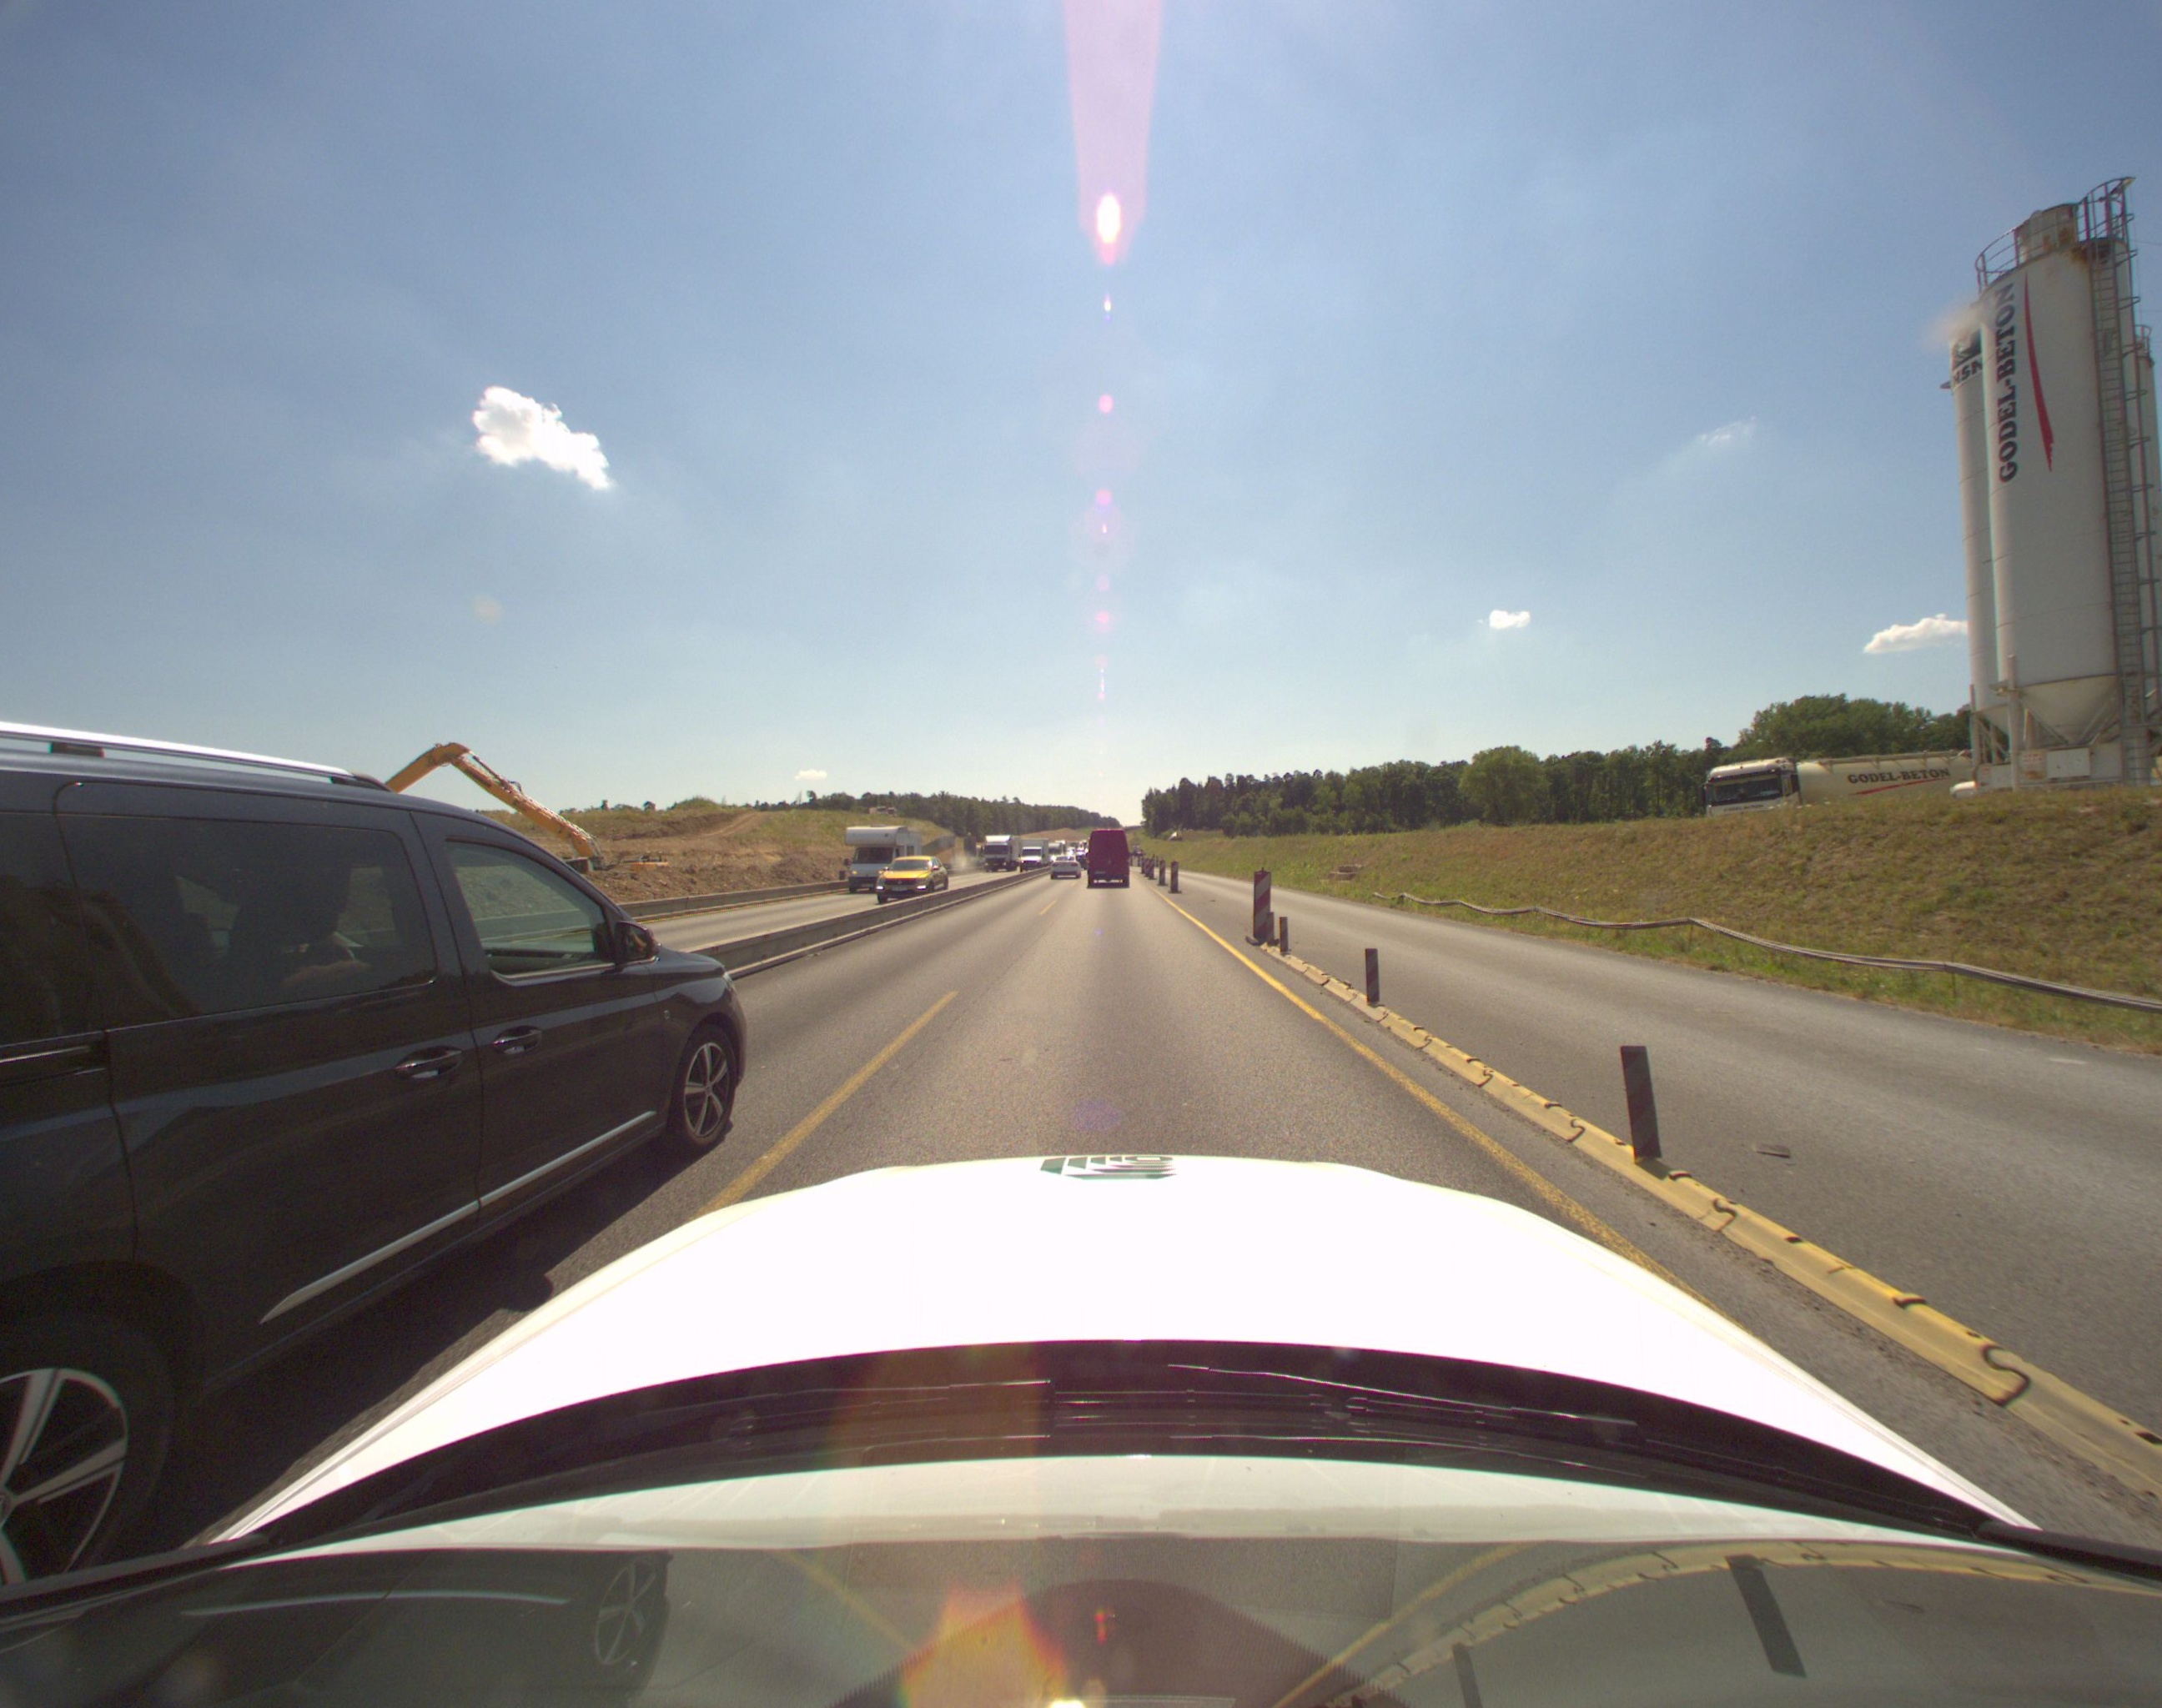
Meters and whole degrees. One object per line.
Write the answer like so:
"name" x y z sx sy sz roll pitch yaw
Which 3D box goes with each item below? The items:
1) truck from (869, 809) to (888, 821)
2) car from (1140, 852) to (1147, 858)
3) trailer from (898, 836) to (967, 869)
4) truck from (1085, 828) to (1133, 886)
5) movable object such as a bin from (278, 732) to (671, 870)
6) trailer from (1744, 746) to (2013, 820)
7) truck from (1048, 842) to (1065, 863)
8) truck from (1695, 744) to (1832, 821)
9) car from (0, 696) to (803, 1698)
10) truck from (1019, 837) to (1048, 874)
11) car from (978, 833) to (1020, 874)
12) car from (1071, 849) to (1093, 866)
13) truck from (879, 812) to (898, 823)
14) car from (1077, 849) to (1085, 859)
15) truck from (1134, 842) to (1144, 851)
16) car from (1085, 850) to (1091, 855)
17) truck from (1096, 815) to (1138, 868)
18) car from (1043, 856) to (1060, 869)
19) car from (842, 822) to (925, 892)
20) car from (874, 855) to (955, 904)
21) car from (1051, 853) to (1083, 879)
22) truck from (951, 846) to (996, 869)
"truck" -56.079 -10.766 225.215 2.371 2.898 8.279 0 -1 -34
"car" 15.473 0.213 201.298 1.647 1.426 4.548 -3 1 2
"trailer" -18.844 -0.141 103.393 8.273 4.098 2.814 -1 -1 20
"truck" 1.366 0.158 39.209 2.145 2.590 5.335 0 0 2
"movable object such as a bin" -31.352 -2.640 42.625 18.154 6.773 3.389 0 -1 1
"trailer" 32.514 -2.859 33.369 8.872 2.607 2.462 -1 -1 -2
"truck" -4.502 -0.237 150.457 2.634 3.716 9.486 0 0 2
"truck" 27.049 -2.699 32.229 5.330 2.544 2.873 0 -1 -35
"car" -2.792 0.614 2.988 1.745 1.824 4.785 0 1 2
"truck" -4.254 0.175 74.020 2.264 3.150 7.311 0 0 -1
"car" -7.716 -0.056 77.882 2.897 3.740 8.094 0 0 2
"car" 0.162 0.352 77.713 1.959 1.541 4.313 0 1 2
"truck" -55.282 -10.463 233.518 2.311 2.749 8.813 0 -1 -34
"car" -0.041 0.034 202.304 1.986 2.292 5.345 0 1 1
"truck" 15.593 -2.036 219.280 2.117 2.457 5.940 0 1 9
"car" 2.155 -0.401 249.171 1.682 1.613 4.595 0 0 1
"truck" 4.105 -1.273 94.096 4.383 5.496 16.610 0 0 2
"car" -3.617 1.035 99.529 1.781 1.482 4.563 0 0 2
"car" -8.933 0.161 37.435 2.243 2.955 5.851 0 0 2
"car" -5.745 0.834 28.633 1.754 1.574 4.365 -1 0 3
"car" -0.858 0.736 51.333 1.824 1.522 3.963 0 0 2
"truck" -13.667 0.476 103.447 5.084 2.964 2.558 1 -1 -36
